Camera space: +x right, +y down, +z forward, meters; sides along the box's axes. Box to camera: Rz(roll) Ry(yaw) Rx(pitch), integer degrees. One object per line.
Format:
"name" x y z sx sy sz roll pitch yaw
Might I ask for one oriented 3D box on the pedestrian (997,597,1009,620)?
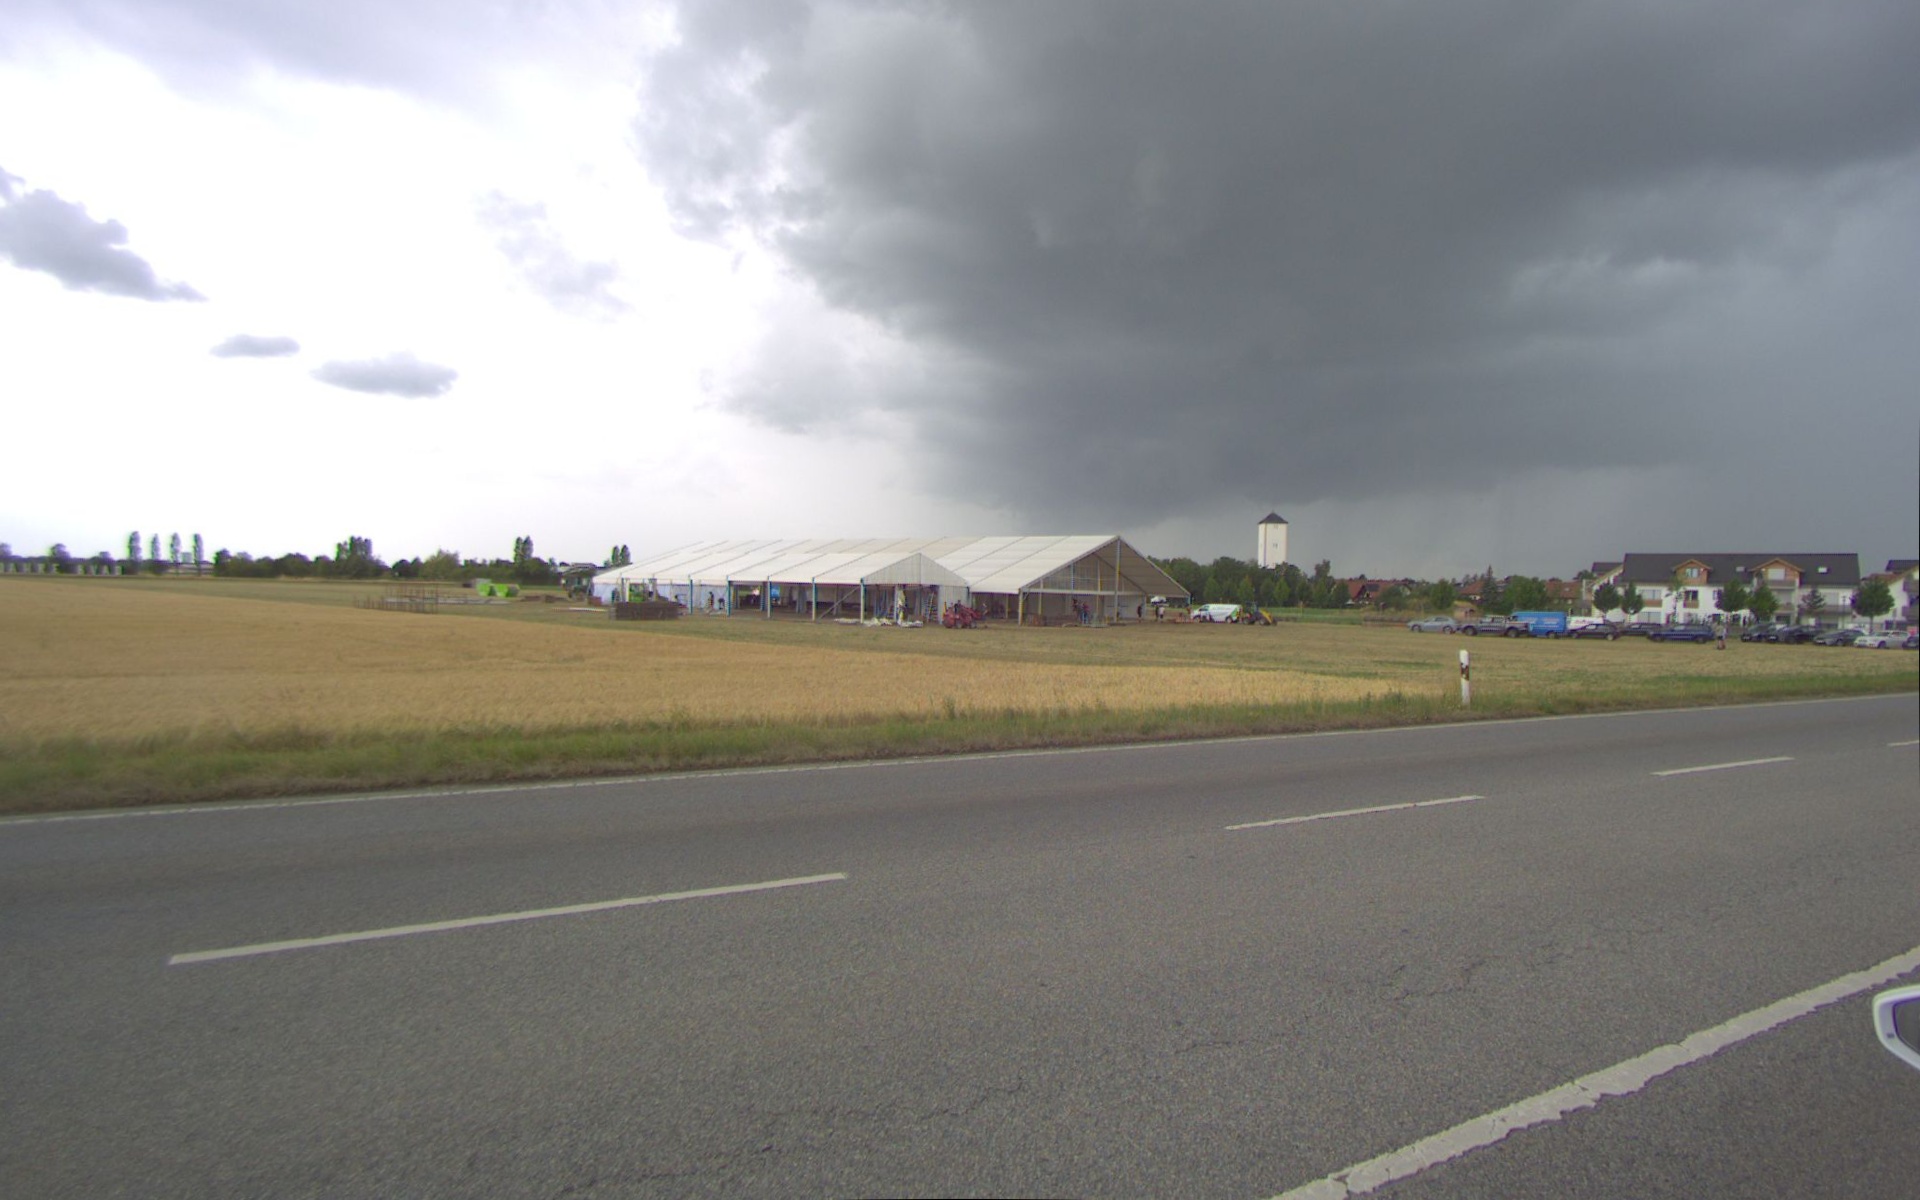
"pedestrian" 3.964 0.779 92.729 0.756 2.040 0.874 1 0 37

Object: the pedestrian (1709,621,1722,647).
"pedestrian" 53.032 2.361 70.495 0.673 1.809 0.543 1 0 -42

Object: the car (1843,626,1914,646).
"car" 70.815 2.772 77.491 4.138 1.465 1.996 1 0 -12

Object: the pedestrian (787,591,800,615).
"pedestrian" -15.380 0.272 92.687 0.928 2.130 0.862 1 0 -26

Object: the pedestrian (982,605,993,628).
"pedestrian" 1.977 1.170 71.919 0.537 1.649 0.551 1 0 29

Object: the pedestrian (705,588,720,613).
"pedestrian" -20.855 0.066 84.688 1.005 2.040 0.806 1 0 -1

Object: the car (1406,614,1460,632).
"car" 43.479 2.127 92.289 4.236 1.481 1.886 1 0 34

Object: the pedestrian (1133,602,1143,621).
"pedestrian" 16.892 1.115 95.430 0.685 1.799 0.686 2 0 44

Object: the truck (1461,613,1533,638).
"truck" 45.795 2.156 85.709 5.155 1.946 2.106 1 0 34

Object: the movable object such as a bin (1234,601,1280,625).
"movable object such as a bin" 29.338 1.267 99.306 3.929 2.273 1.881 1 0 33

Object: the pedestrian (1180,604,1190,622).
"pedestrian" 22.267 1.310 99.339 0.680 1.799 0.691 2 0 41

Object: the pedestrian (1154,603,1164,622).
"pedestrian" 19.405 1.208 97.839 0.701 1.890 0.621 1 0 -31

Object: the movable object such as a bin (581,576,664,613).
"movable object such as a bin" -32.051 -0.516 95.396 7.467 3.219 4.139 2 1 40

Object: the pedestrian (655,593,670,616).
"pedestrian" -25.815 0.396 87.265 1.010 2.040 0.802 2 0 41

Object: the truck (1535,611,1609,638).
"truck" 55.779 2.212 91.590 5.494 2.226 2.597 1 0 38

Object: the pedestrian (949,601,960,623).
"pedestrian" -0.408 0.874 74.602 0.464 1.649 0.581 1 0 42

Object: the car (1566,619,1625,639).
"car" 55.072 2.525 87.098 4.106 1.539 1.991 1 0 40

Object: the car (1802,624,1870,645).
"car" 69.878 2.781 80.115 4.138 1.556 1.996 1 0 -12

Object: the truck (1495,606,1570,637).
"truck" 49.654 1.838 87.165 5.379 2.478 2.384 1 0 38

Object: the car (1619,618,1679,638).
"car" 65.896 2.693 96.086 4.571 1.719 1.990 1 0 40

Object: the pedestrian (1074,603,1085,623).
"pedestrian" 11.220 1.233 94.343 0.721 1.803 0.756 1 0 40

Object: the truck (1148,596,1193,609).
"truck" 43.817 0.510 209.247 3.271 2.563 9.273 1 0 -38

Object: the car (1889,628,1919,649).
"car" 71.878 2.875 74.769 4.138 1.465 1.996 1 0 -12

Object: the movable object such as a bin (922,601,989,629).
"movable object such as a bin" -0.264 1.055 71.286 2.556 1.889 4.457 1 0 37

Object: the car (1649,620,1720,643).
"car" 59.946 2.586 83.151 4.660 1.719 1.990 1 0 40

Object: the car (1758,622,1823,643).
"car" 68.641 2.682 83.074 4.138 1.650 1.996 1 0 -12

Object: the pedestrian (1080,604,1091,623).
"pedestrian" 11.683 1.253 93.594 0.646 1.767 0.724 1 0 40

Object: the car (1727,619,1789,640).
"car" 69.078 2.537 86.984 4.138 1.650 1.996 1 0 -12

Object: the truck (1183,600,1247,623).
"truck" 26.748 1.159 105.320 5.961 2.246 2.713 1 0 33

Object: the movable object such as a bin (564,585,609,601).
"movable object such as a bin" -52.415 -0.957 140.962 2.529 2.040 5.386 2 0 41
